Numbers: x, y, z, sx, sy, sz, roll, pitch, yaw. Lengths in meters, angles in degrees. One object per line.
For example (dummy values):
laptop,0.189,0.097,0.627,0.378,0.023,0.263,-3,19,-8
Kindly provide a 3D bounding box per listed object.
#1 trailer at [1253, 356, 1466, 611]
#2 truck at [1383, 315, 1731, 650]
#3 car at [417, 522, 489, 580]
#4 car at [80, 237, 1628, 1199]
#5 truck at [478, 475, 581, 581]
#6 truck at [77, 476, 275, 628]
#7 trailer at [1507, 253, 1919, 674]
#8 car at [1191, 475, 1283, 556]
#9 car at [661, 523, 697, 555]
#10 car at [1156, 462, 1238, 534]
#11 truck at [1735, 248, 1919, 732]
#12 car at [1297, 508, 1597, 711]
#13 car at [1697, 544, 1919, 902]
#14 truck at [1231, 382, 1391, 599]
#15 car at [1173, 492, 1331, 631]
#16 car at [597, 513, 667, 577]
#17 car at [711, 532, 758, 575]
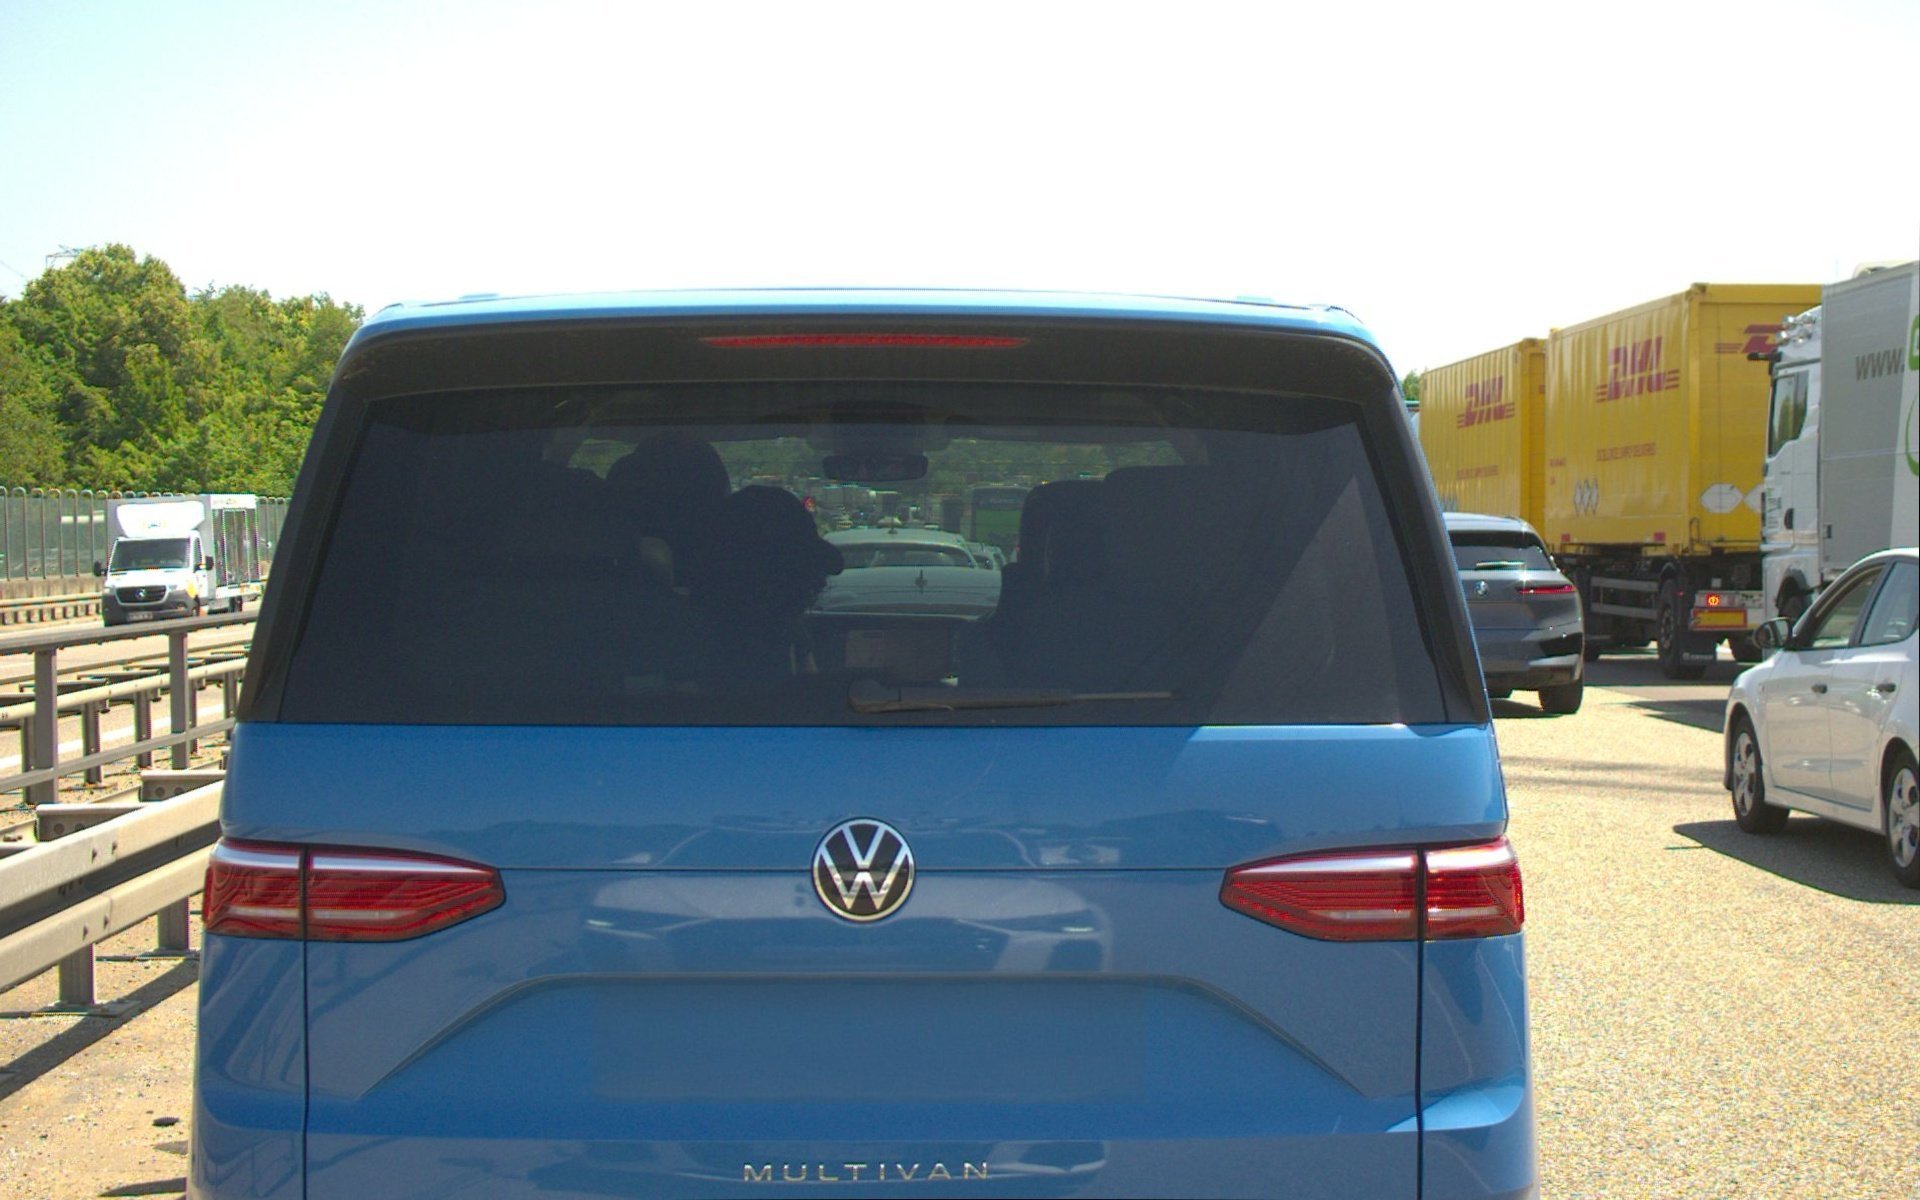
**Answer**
trailer,7.595,-2.192,66.882,2.637,4.501,11.302,1,1,-1
truck,8.272,-1.589,49.246,2.836,4.228,11.011,1,1,-1
car,-19.610,-1.912,133.165,2.082,2.142,4.312,-2,1,0
car,-0.148,0.475,6.114,1.820,1.851,4.075,1,1,0
truck,-14.498,-2.410,116.322,2.561,3.348,8.865,-2,1,-2
truck,-17.703,-1.097,78.155,2.518,3.100,8.724,-4,1,-1
trailer,8.470,-1.436,39.231,2.864,4.224,9.012,1,1,-1
car,7.073,-2.144,88.156,1.993,2.007,4.000,1,1,0
car,-18.176,-3.942,222.263,1.993,2.007,4.000,1,1,0
car,6.800,-2.913,98.962,1.993,2.007,4.461,-1,1,0
truck,8.532,-0.834,26.025,2.656,3.635,11.012,0,1,-1
car,4.161,0.036,30.035,1.962,1.639,4.293,0,1,-1
car,4.805,0.474,15.964,1.788,1.450,4.293,0,1,-1
truck,7.526,-2.313,74.559,2.667,4.469,6.850,1,1,0
car,4.332,-0.597,51.593,1.962,1.986,4.293,0,1,-1
car,-10.557,-1.756,110.860,1.901,2.007,4.000,1,1,0
car,-10.767,-2.211,164.425,1.993,2.007,4.312,1,1,0
